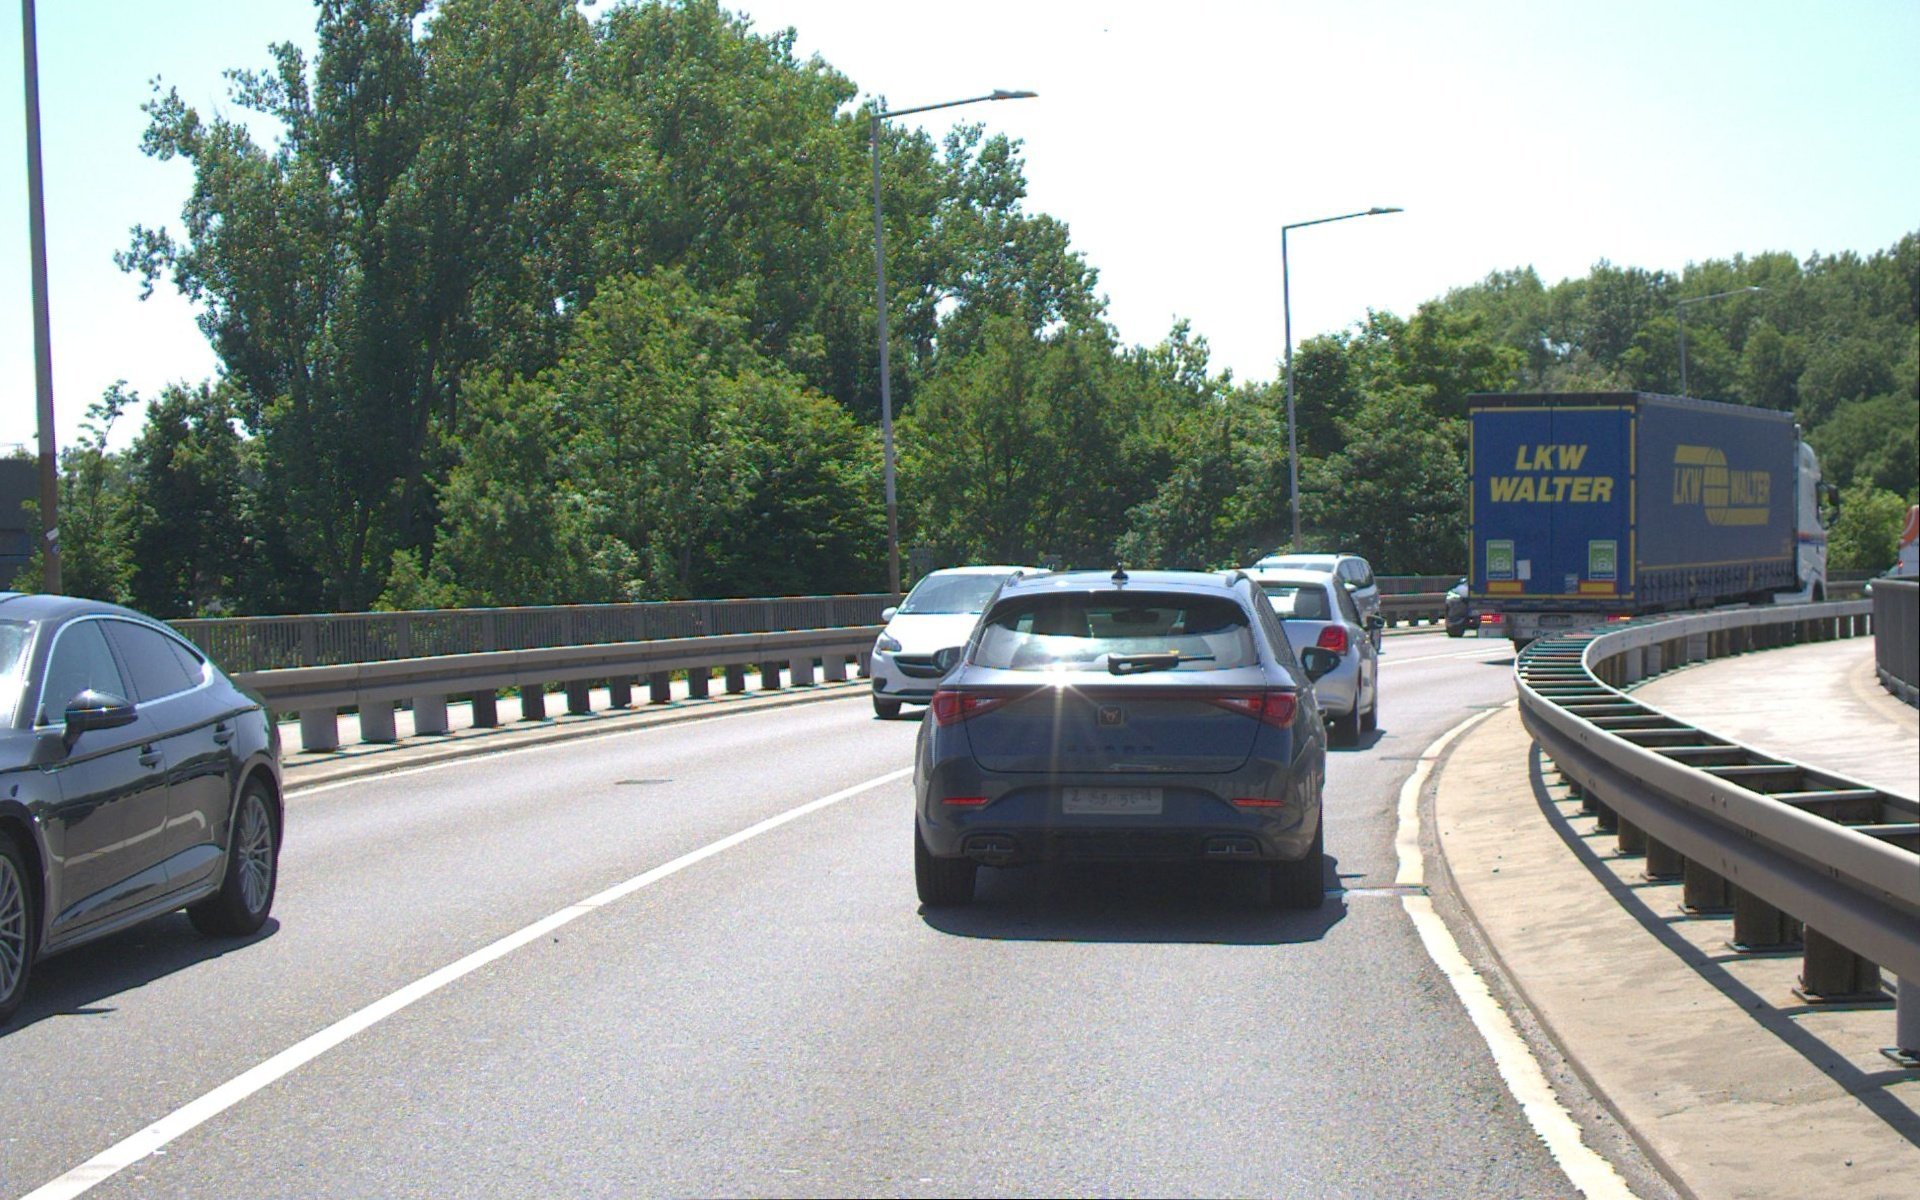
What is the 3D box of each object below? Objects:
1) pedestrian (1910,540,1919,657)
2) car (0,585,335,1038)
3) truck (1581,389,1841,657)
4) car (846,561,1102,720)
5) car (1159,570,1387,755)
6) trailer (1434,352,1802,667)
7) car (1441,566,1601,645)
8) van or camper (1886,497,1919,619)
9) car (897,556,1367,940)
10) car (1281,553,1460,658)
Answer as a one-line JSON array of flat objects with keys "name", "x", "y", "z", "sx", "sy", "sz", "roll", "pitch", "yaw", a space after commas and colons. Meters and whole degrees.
[{"name": "pedestrian", "x": 16.501, "y": -0.024, "z": 58.050, "sx": 0.738, "sy": 1.961, "sz": 0.733, "roll": 0, "pitch": 0, "yaw": 27}, {"name": "car", "x": -3.753, "y": 0.679, "z": 12.368, "sx": 1.789, "sy": 1.410, "sz": 4.574, "roll": -1, "pitch": 0, "yaw": 5}, {"name": "truck", "x": 13.772, "y": -1.305, "z": 62.549, "sx": 3.174, "sy": 4.569, "sz": 7.387, "roll": 1, "pitch": 0, "yaw": 24}, {"name": "car", "x": 0.207, "y": 0.375, "z": 34.376, "sx": 1.726, "sy": 1.478, "sz": 3.864, "roll": -1, "pitch": 0, "yaw": 13}, {"name": "car", "x": 2.720, "y": 0.495, "z": 29.325, "sx": 1.594, "sy": 1.456, "sz": 3.543, "roll": 1, "pitch": 0, "yaw": 10}, {"name": "trailer", "x": 11.147, "y": -1.344, "z": 56.740, "sx": 3.138, "sy": 4.598, "sz": 12.931, "roll": 1, "pitch": 0, "yaw": 24}, {"name": "car", "x": 10.960, "y": 0.101, "z": 66.977, "sx": 1.889, "sy": 1.491, "sz": 4.310, "roll": -1, "pitch": 0, "yaw": 26}, {"name": "van or camper", "x": 23.135, "y": -0.973, "z": 78.172, "sx": 2.207, "sy": 2.702, "sz": 5.914, "roll": 1, "pitch": 1, "yaw": 34}, {"name": "car", "x": 0.705, "y": 0.560, "z": 15.425, "sx": 1.845, "sy": 1.493, "sz": 3.758, "roll": 0, "pitch": 1, "yaw": 1}, {"name": "car", "x": 6.619, "y": 0.072, "z": 55.095, "sx": 1.717, "sy": 1.609, "sz": 4.113, "roll": -1, "pitch": 0, "yaw": 24}]
